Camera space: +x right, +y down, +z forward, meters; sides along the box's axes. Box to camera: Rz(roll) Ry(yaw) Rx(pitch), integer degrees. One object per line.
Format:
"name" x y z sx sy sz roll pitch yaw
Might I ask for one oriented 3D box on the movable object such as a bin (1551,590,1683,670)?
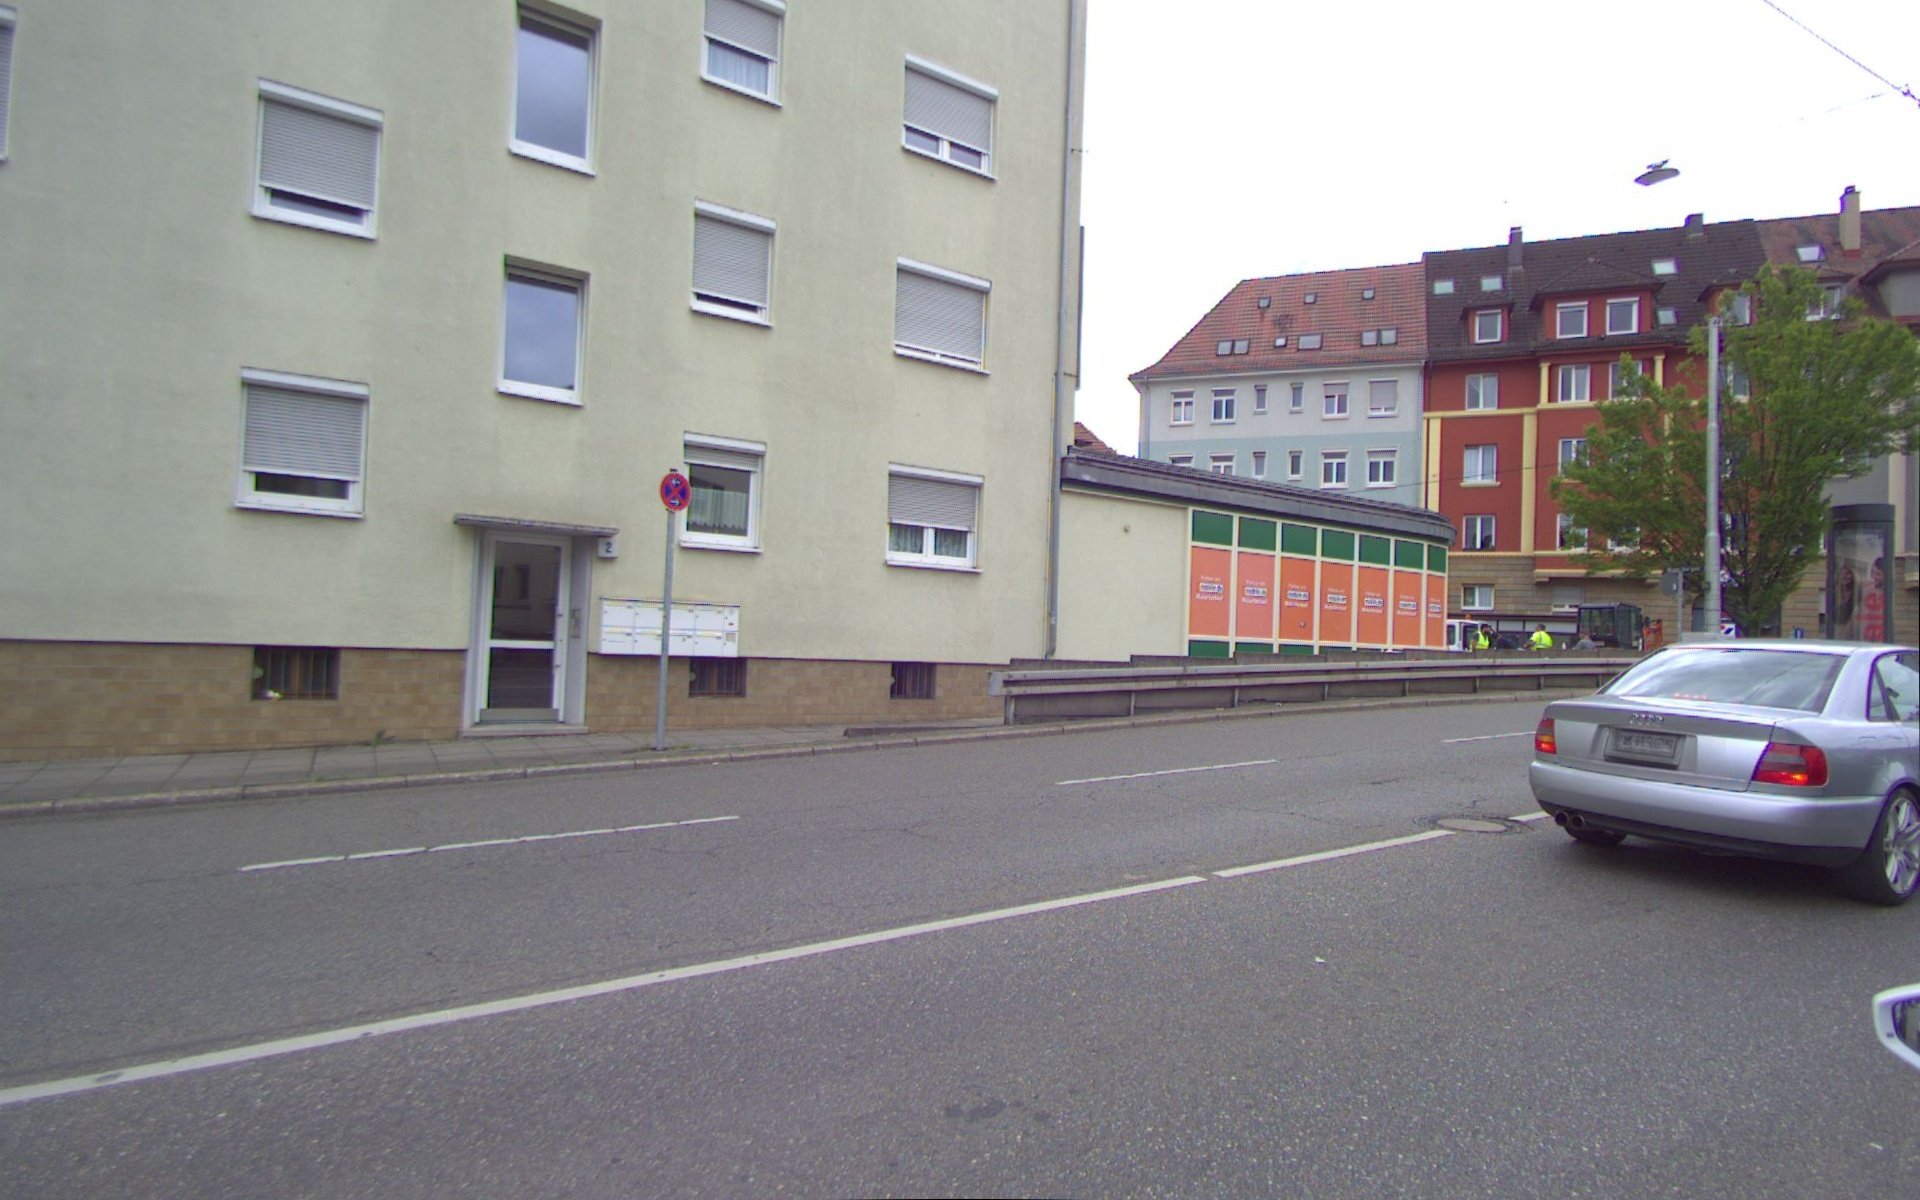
"movable object such as a bin" 16.623 0.727 25.347 3.972 1.795 1.884 2 1 -43

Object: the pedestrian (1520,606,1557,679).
"pedestrian" 14.524 1.061 25.206 0.613 1.785 0.566 1 1 -39

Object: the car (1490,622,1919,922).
"car" 5.538 0.864 6.552 4.125 1.391 1.689 0 0 -28

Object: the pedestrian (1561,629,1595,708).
"pedestrian" 14.366 1.580 23.354 0.533 1.753 0.593 3 1 26

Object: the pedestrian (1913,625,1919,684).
"pedestrian" 26.122 1.482 26.981 0.480 1.588 0.586 2 1 -30

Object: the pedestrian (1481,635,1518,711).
"pedestrian" 12.668 1.700 23.593 0.539 1.722 0.557 1 1 -41

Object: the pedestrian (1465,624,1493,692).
"pedestrian" 13.636 1.515 26.388 0.467 1.753 0.543 2 1 14
